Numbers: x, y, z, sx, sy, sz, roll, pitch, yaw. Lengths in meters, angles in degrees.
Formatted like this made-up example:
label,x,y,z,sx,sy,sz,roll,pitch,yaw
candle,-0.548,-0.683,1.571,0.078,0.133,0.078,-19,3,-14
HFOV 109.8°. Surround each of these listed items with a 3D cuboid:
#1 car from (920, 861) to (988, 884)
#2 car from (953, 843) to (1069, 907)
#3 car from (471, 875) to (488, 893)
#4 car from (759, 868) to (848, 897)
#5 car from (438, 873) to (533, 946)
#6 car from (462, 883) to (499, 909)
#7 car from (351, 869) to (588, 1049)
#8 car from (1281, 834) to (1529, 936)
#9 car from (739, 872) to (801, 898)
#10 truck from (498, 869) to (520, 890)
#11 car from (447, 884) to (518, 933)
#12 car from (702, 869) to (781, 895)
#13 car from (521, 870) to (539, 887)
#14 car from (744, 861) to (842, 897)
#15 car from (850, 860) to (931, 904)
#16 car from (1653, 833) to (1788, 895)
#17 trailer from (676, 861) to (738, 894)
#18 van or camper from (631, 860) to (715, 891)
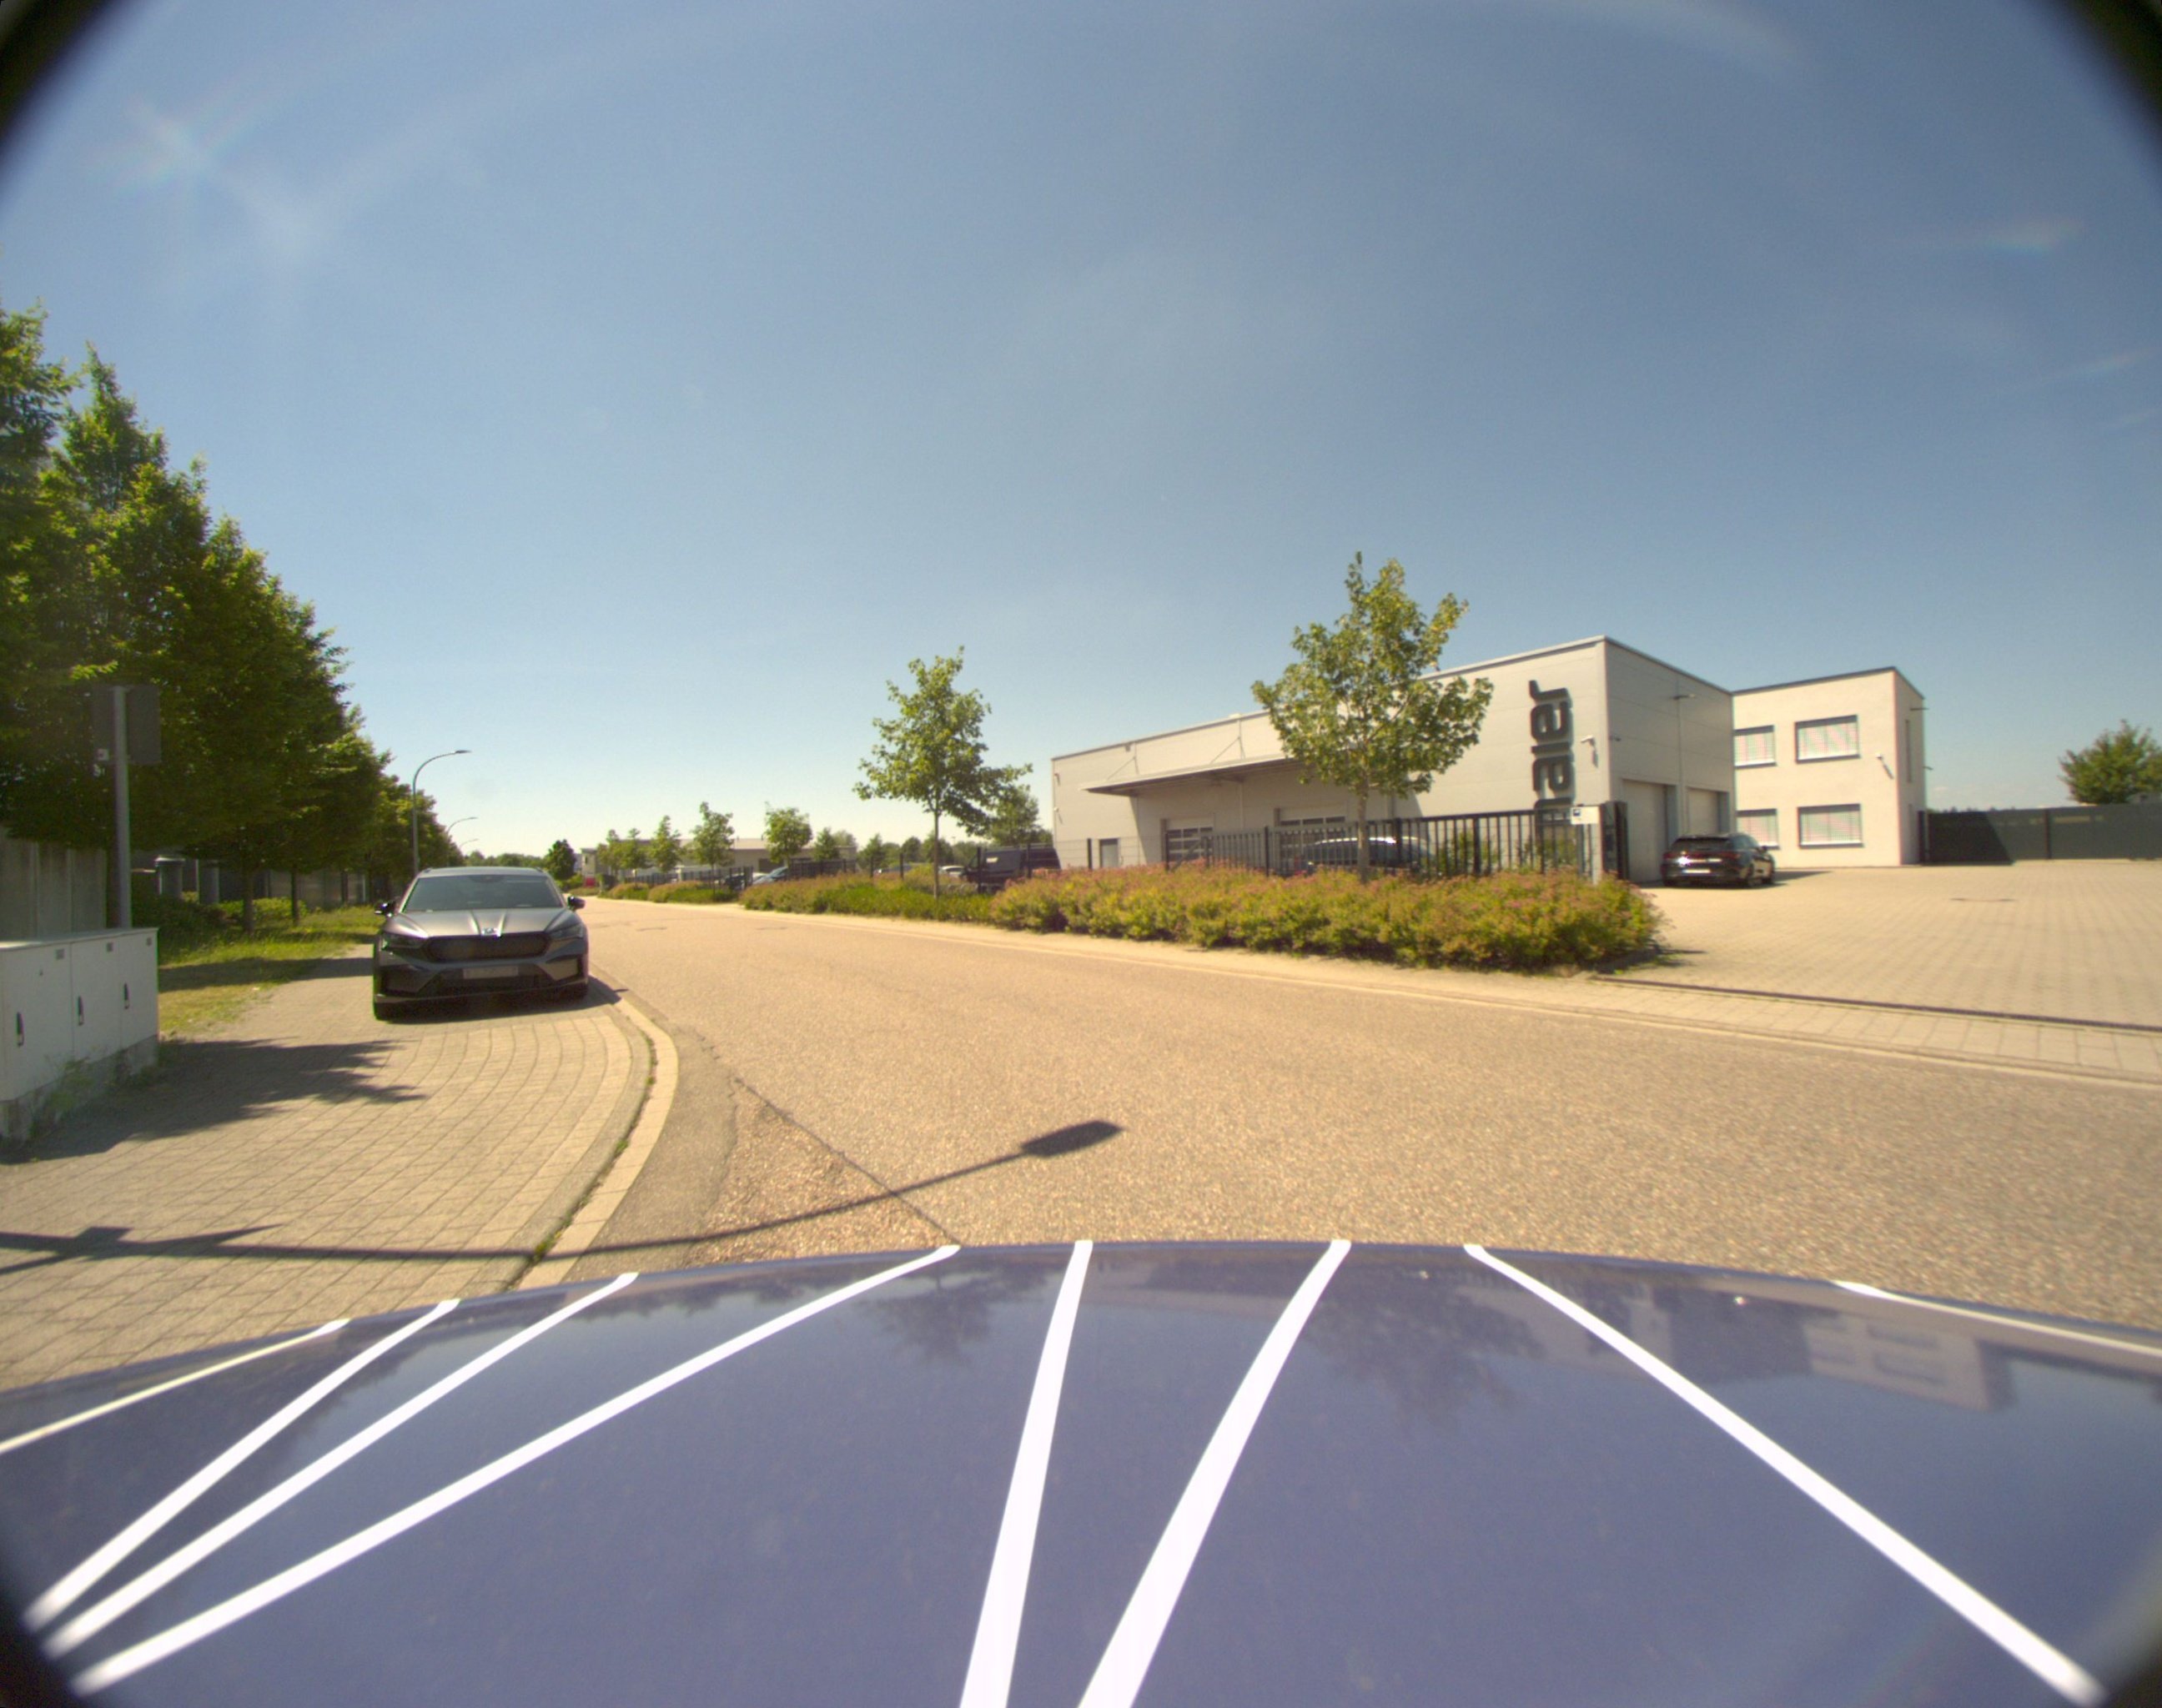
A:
label,x,y,z,sx,sy,sz,roll,pitch,yaw
car,-8.641,1.259,51.986,4.128,1.342,1.876,-2,0,-39
car,-2.663,0.761,28.014,2.010,2.087,4.682,-4,1,-36
car,-93.887,4.647,118.557,2.065,2.682,4.823,-1,-1,-39
car,-15.912,1.614,43.627,4.327,1.438,1.959,-2,0,-39
car,-15.295,1.353,19.595,1.767,1.652,4.352,0,-2,-38
car,-36.850,2.541,46.628,1.701,1.467,4.258,0,-2,-39
car,-7.444,1.055,9.352,1.813,1.652,4.596,1,-2,-39
car,6.327,0.558,15.231,2.003,1.713,4.081,-2,0,-36
car,-20.596,2.015,50.370,3.387,1.489,1.900,-3,0,-39
truck,-99.347,4.434,131.849,2.613,3.523,10.474,0,-1,-39
car,-19.952,1.759,25.397,1.725,1.472,4.021,1,-2,-38
car,-24.200,1.984,54.172,4.756,1.619,1.995,-2,0,-37
car,-106.910,4.729,147.320,2.607,3.212,6.206,-1,-1,-38
car,-17.257,1.455,45.723,5.085,1.840,1.959,-2,0,-39
car,-8.387,1.182,33.207,2.003,1.713,4.081,-2,0,-36
car,16.765,0.217,19.867,3.877,1.412,1.793,-2,0,-36
trailer,-29.903,1.869,60.755,4.007,2.346,1.722,-4,1,-41
van or camper,-39.516,2.043,73.757,6.811,2.668,2.569,-1,-1,-37
